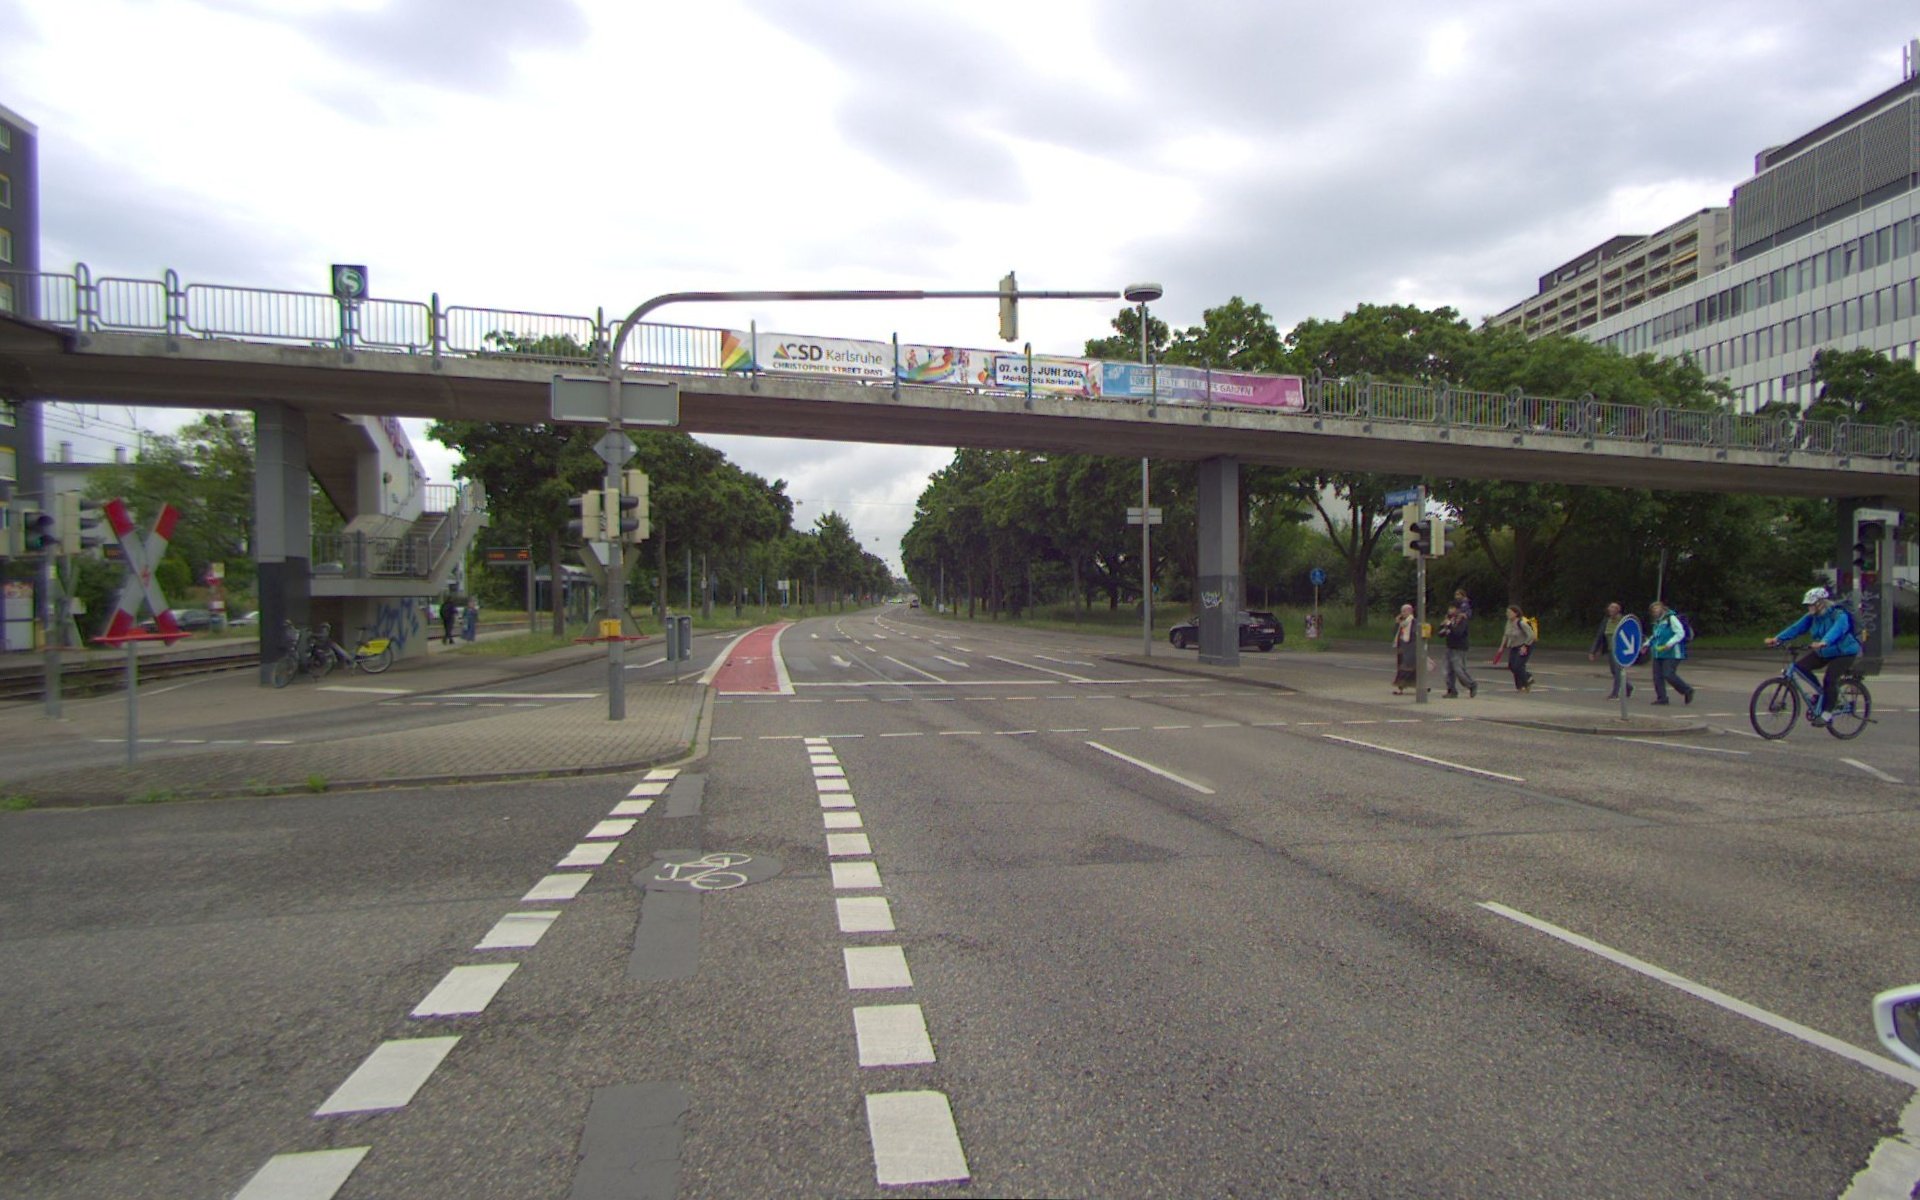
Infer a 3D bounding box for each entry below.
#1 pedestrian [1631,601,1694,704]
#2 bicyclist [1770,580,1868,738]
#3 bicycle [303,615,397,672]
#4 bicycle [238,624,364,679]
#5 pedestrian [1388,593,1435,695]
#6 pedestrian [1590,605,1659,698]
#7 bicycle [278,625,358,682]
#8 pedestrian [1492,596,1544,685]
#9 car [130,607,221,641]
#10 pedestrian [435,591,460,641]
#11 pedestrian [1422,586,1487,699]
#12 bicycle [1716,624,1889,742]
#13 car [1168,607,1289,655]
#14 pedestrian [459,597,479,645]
[{"bbox_3d":[11.374,0.826,16.282,0.481,1.626,0.686,0,0,-22],"label":"pedestrian"},{"bbox_3d":[10.116,0.669,11.842,0.637,1.792,0.643,0,0,-19],"label":"bicyclist"},{"bbox_3d":[-12.407,0.865,20.453,1.604,1.109,0.346,0,0,-44],"label":"bicycle"},{"bbox_3d":[-12.197,0.932,18.713,0.546,0.900,2.408,0,0,6],"label":"bicycle"},{"bbox_3d":[7.725,0.736,17.200,0.400,1.714,0.615,0,1,-31],"label":"pedestrian"},{"bbox_3d":[11.388,0.863,17.242,0.399,1.531,0.913,0,0,-28],"label":"pedestrian"},{"bbox_3d":[-12.059,0.982,18.939,0.367,0.934,2.035,-1,1,-6],"label":"bicycle"},{"bbox_3d":[10.271,0.725,18.492,0.774,1.600,0.575,0,0,-36],"label":"pedestrian"},{"bbox_3d":[-38.124,1.127,48.931,1.637,1.581,3.996,0,0,-7],"label":"car"},{"bbox_3d":[-17.227,0.546,33.786,0.591,1.664,0.662,0,0,-13],"label":"pedestrian"},{"bbox_3d":[8.214,0.690,16.695,0.791,1.828,0.634,0,1,-26],"label":"pedestrian"},{"bbox_3d":[9.896,0.942,11.793,2.077,1.284,0.542,0,0,-18],"label":"bicycle"},{"bbox_3d":[9.466,1.049,35.771,1.652,1.528,4.365,-1,0,-28],"label":"car"},{"bbox_3d":[-16.359,0.689,33.454,0.551,1.585,0.333,0,0,-17],"label":"pedestrian"}]
